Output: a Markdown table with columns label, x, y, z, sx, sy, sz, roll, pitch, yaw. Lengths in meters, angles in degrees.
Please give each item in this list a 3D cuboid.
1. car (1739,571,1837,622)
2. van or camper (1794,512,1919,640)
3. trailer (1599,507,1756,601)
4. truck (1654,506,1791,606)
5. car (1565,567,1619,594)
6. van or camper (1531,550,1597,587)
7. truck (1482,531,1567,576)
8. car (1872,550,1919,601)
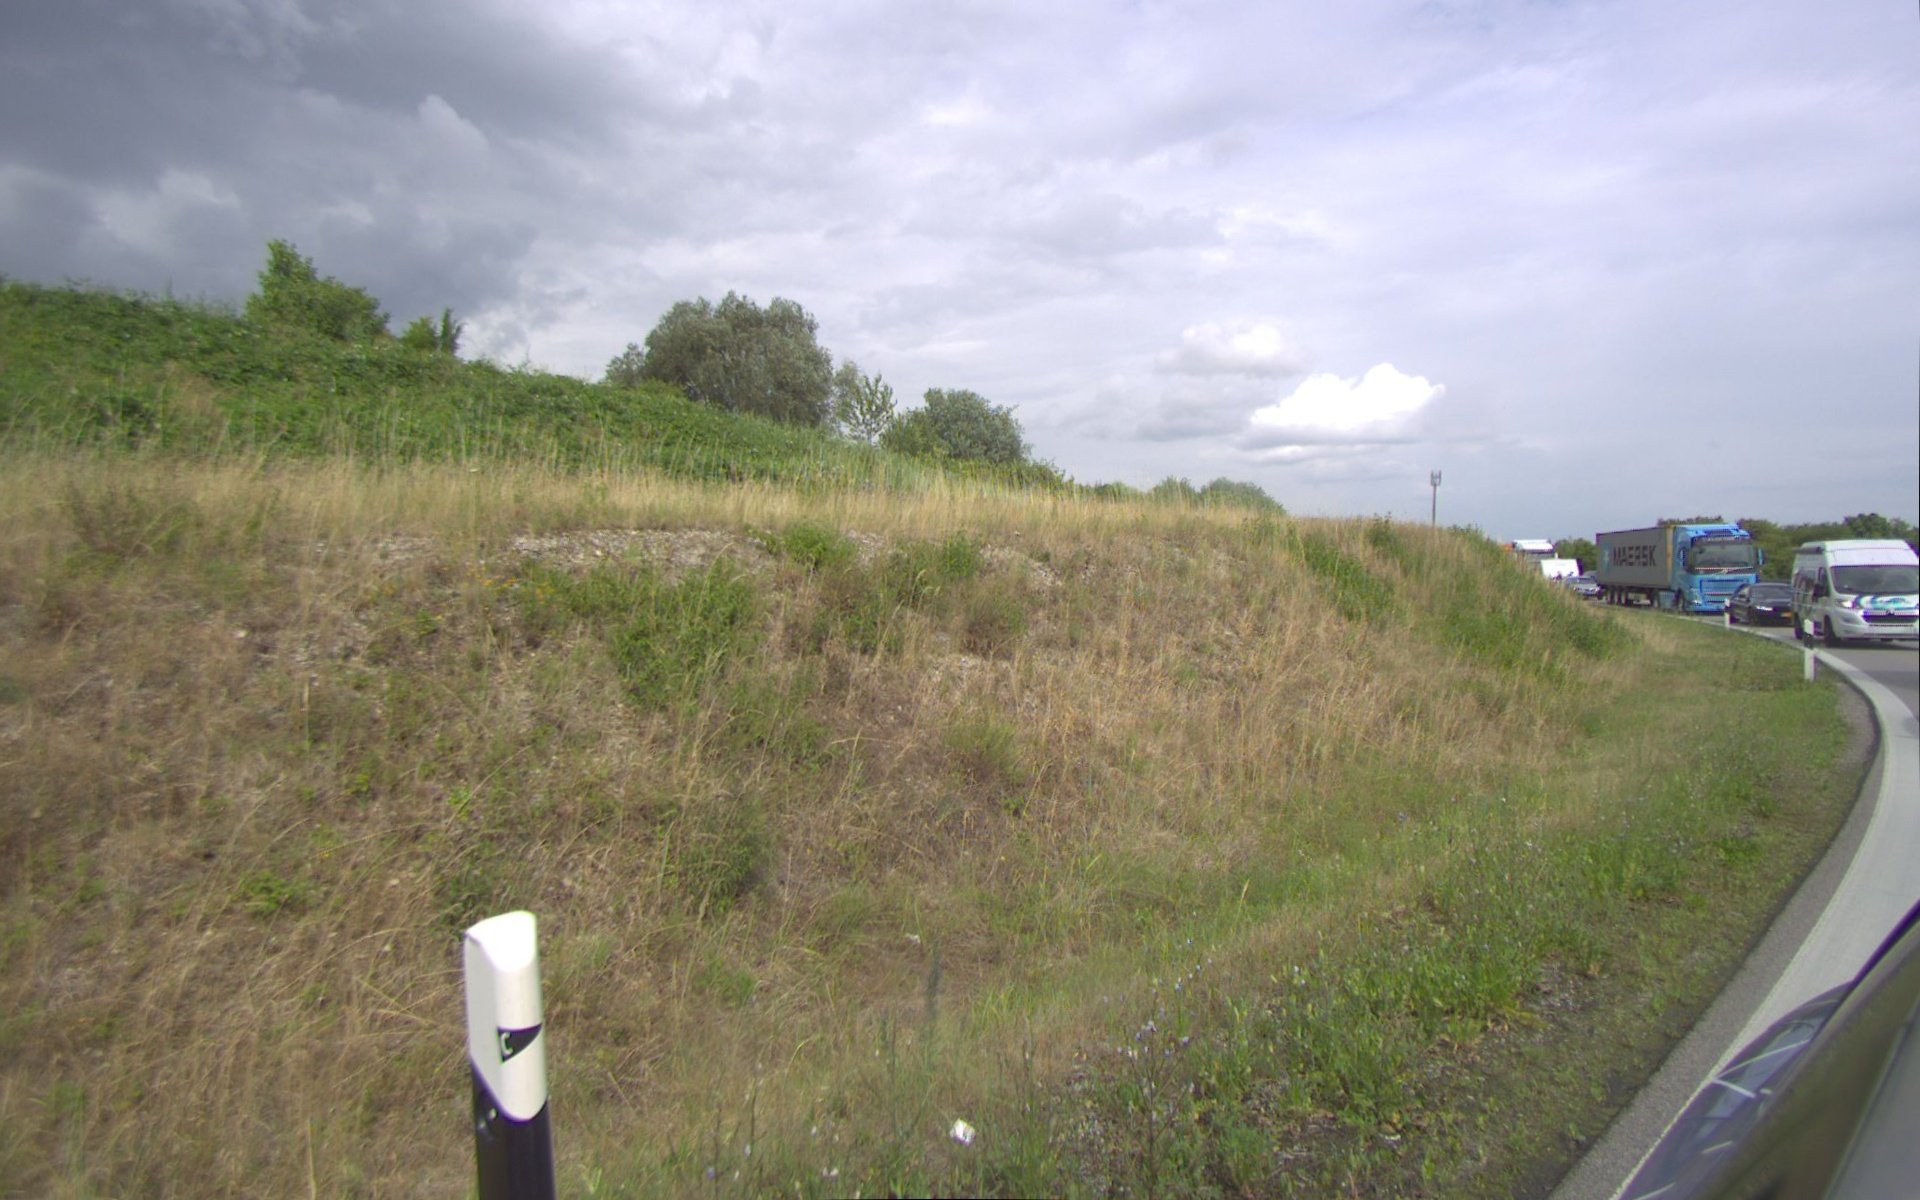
| label | x | y | z | sx | sy | sz | roll | pitch | yaw |
| --- | --- | --- | --- | --- | --- | --- | --- | --- | --- |
| car | 29.009 | -0.170 | 35.593 | 1.983 | 1.638 | 3.960 | 1 | 2 | 29 |
| van or camper | 23.395 | -0.572 | 25.794 | 2.379 | 2.945 | 5.659 | 0 | 0 | 30 |
| trailer | 36.160 | -2.146 | 51.675 | 3.234 | 4.214 | 11.943 | 0 | 0 | 19 |
| truck | 33.826 | -1.836 | 45.236 | 3.142 | 4.124 | 6.600 | 0 | 0 | 21 |
| car | 39.094 | -1.240 | 62.665 | 1.974 | 1.548 | 3.977 | 0 | 2 | 19 |
| van or camper | 40.775 | -2.160 | 68.465 | 2.519 | 2.237 | 5.684 | -1 | 4 | 17 |
| truck | 44.100 | -3.579 | 79.497 | 3.080 | 3.279 | 11.113 | 0 | 2 | 14 |
| car | 43.606 | -1.111 | 45.365 | 1.971 | 2.286 | 4.790 | 0 | 2 | 14 |
